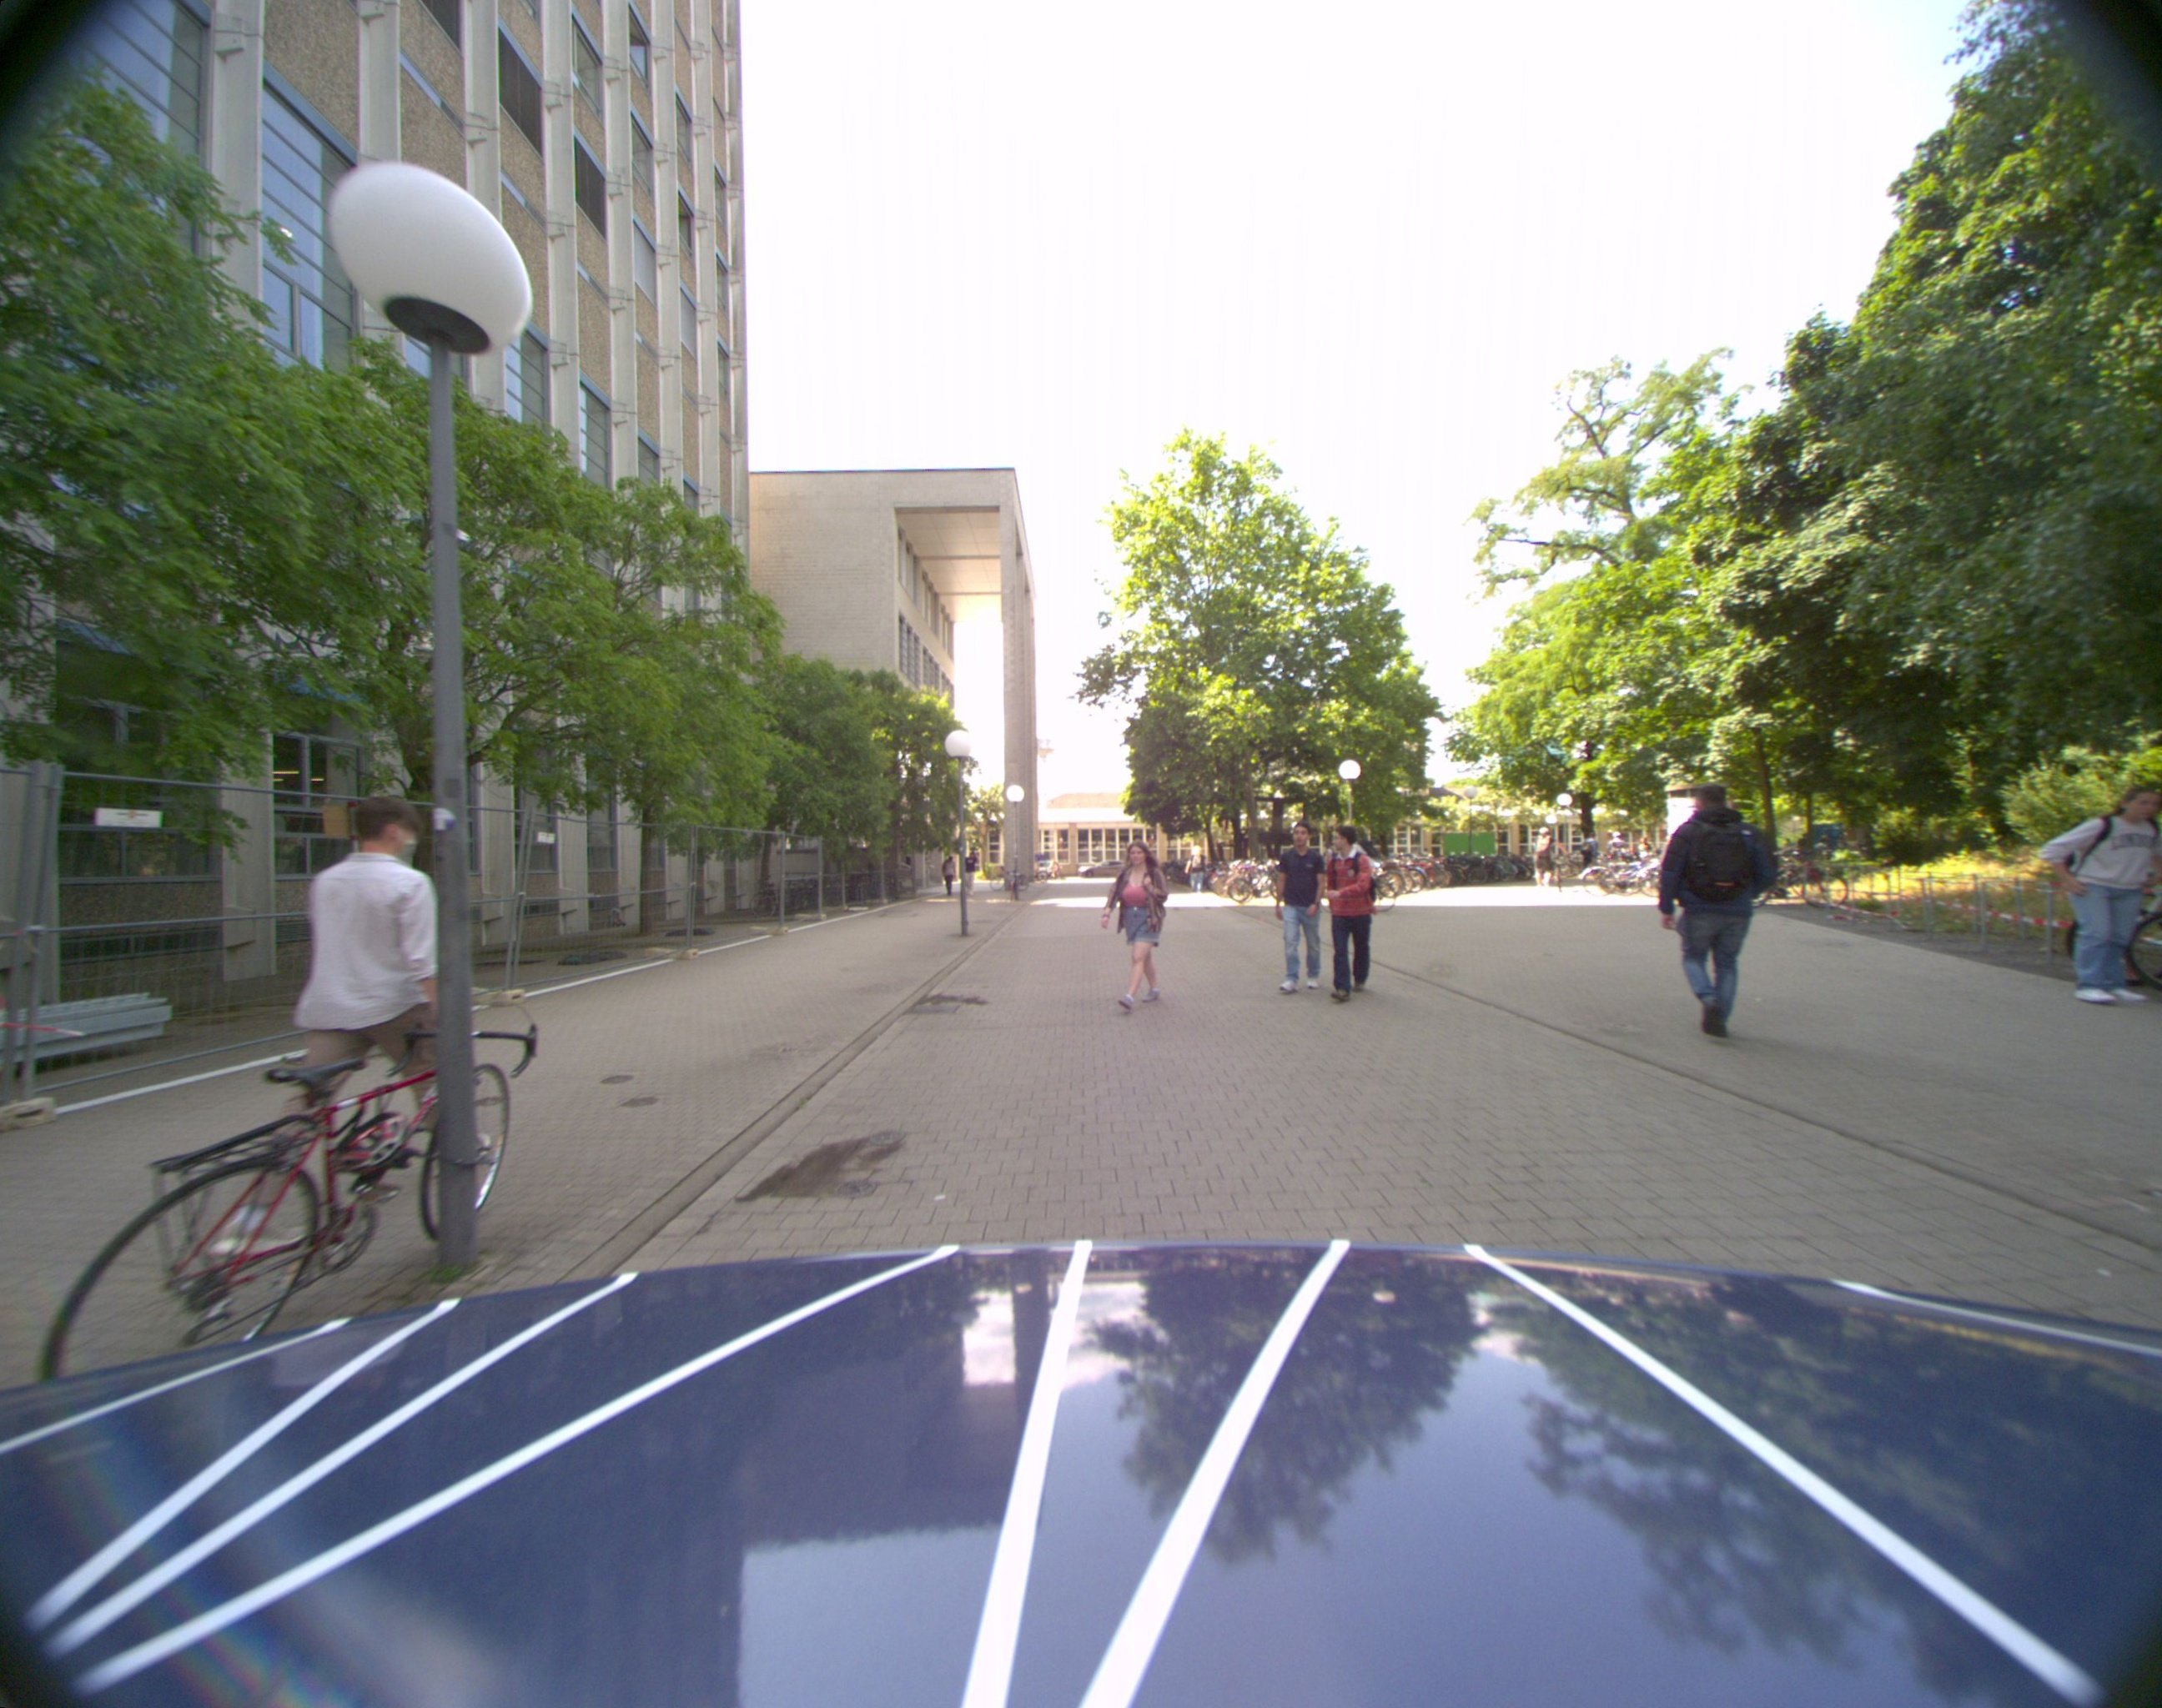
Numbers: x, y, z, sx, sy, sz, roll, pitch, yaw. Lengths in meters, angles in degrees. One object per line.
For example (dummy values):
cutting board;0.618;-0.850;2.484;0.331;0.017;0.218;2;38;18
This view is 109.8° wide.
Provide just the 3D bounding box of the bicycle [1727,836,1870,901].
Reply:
bicycle;12.793;0.274;13.614;1.773;1.104;0.475;-2;1;29

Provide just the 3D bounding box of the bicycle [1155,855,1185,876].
bicycle;5.124;0.661;43.826;1.628;1.101;0.497;-3;1;5

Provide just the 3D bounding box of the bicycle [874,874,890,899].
bicycle;-7.775;1.269;29.720;0.291;0.900;1.448;-2;0;-3

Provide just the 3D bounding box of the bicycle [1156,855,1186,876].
bicycle;5.079;0.629;43.104;1.628;1.101;0.691;-3;1;5

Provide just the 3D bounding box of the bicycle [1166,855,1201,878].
bicycle;5.347;0.638;39.461;1.724;1.101;0.719;-3;1;11

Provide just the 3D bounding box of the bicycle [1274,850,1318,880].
bicycle;9.081;0.474;32.111;0.577;1.193;1.695;-3;1;-39

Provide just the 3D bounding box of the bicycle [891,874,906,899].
bicycle;-7.085;1.255;29.573;0.291;0.900;1.448;-2;0;-3

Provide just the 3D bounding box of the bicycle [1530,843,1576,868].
bicycle;21.304;0.075;34.327;0.475;1.077;1.695;-3;1;-39

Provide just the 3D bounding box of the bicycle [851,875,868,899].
bicycle;-8.646;1.282;29.729;0.291;0.900;1.448;-2;0;-3

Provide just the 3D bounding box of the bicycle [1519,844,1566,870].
bicycle;20.501;0.148;33.779;0.475;1.077;1.695;-3;1;-39

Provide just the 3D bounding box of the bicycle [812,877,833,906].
bicycle;-8.804;1.267;25.919;0.291;0.900;1.448;-2;0;-3

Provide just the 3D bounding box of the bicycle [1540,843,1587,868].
bicycle;22.057;0.068;34.763;0.475;1.077;1.695;-3;1;-39

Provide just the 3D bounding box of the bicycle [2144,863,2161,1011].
bicycle;8.400;0.537;4.841;1.905;1.041;0.542;-3;1;19

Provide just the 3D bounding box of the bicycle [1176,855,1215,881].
bicycle;5.310;0.656;35.283;1.739;1.101;0.497;-3;1;0

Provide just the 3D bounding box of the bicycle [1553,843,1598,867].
bicycle;23.223;0.071;35.698;0.475;1.077;1.695;-3;1;-39

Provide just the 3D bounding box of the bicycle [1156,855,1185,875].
bicycle;5.241;0.654;44.373;1.628;1.101;0.506;-3;1;5

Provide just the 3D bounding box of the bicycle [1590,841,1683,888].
bicycle;13.613;0.264;18.668;1.773;1.104;0.475;-2;1;44

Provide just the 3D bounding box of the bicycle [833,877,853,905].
bicycle;-8.128;1.250;25.960;0.291;0.900;1.448;-2;0;-3

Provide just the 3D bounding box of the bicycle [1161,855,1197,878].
bicycle;5.274;0.661;40.917;1.784;1.155;0.497;-3;1;-5

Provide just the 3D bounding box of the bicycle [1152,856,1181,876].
bicycle;5.070;0.718;44.944;1.628;1.101;0.629;-3;1;4

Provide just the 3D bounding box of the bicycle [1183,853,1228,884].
bicycle;5.216;0.602;31.906;1.740;1.228;0.496;-3;1;-7

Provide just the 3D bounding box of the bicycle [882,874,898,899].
bicycle;-7.424;1.260;29.583;0.291;0.900;1.448;-2;0;-3

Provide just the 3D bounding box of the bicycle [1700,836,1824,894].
bicycle;13.707;0.224;15.345;1.773;1.104;0.475;-2;1;29

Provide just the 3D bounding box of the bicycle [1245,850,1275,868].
bicycle;11.659;0.313;49.600;1.839;1.101;0.393;-3;1;-6

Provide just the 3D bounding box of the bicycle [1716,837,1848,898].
bicycle;13.356;0.268;14.533;1.773;1.104;0.475;-2;1;29

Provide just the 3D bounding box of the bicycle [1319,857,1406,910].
bicycle;6.312;0.644;17.047;1.699;1.077;0.604;-3;1;-4

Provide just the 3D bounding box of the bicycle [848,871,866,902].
bicycle;-8.286;1.176;28.173;0.291;1.088;1.448;-2;0;-3

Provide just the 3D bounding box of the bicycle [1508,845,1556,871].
bicycle;19.634;0.167;33.094;0.475;1.077;1.695;-3;1;-39

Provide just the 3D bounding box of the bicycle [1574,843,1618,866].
bicycle;24.997;0.019;36.903;0.475;1.077;1.696;-3;1;-29

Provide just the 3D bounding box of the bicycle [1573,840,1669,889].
bicycle;12.744;0.255;17.972;1.773;1.104;0.475;-2;1;44

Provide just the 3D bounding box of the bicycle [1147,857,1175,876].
bicycle;4.873;0.753;46.079;1.628;1.101;0.497;-3;1;5

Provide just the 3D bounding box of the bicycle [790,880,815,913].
bicycle;-8.429;1.259;23.032;0.291;0.900;1.804;-2;0;-8

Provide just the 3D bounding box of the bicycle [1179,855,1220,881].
bicycle;5.396;0.635;34.663;1.740;1.120;0.497;-3;1;-4

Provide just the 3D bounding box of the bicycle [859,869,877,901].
bicycle;-7.893;1.152;28.224;0.291;1.121;1.448;-2;0;-3

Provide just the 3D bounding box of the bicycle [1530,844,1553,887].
bicycle;12.741;0.303;21.040;0.473;1.104;1.848;-2;1;31

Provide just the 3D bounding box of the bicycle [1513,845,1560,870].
bicycle;20.045;0.159;33.480;0.475;1.077;1.695;-3;1;-39

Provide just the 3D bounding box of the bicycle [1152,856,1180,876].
bicycle;5.071;0.722;45.507;1.628;1.101;0.497;-3;1;5

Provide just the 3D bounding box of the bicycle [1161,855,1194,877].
bicycle;5.144;0.642;40.421;1.629;1.101;0.497;-3;1;-5

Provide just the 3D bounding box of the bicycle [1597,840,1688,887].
bicycle;14.040;0.248;19.028;1.773;1.104;0.475;-2;1;39

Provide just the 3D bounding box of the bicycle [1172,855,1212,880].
bicycle;5.278;0.628;36.156;1.737;1.101;0.575;-2;1;19

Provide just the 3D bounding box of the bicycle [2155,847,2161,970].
bicycle;9.714;0.450;5.801;0.475;1.041;1.695;-3;1;-41

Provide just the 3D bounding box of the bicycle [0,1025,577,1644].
bicycle;-2.419;1.217;2.477;0.396;0.930;1.732;0;0;0

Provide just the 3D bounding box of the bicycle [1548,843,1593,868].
bicycle;22.719;0.087;35.291;0.475;1.077;1.695;-3;1;-39

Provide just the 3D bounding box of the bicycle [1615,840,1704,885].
bicycle;14.859;0.227;19.559;1.773;1.104;0.475;-2;1;39

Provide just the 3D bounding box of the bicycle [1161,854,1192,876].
bicycle;5.329;0.608;42.320;1.628;1.144;0.497;-3;1;0

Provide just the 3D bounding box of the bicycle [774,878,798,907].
bicycle;-10.055;1.309;25.938;0.291;0.900;1.448;-2;0;-3

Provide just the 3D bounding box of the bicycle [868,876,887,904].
bicycle;-6.990;1.216;26.143;0.291;0.900;1.448;-2;0;-3

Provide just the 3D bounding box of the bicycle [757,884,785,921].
bicycle;-8.514;1.309;20.896;0.291;0.900;1.618;-2;0;-8
